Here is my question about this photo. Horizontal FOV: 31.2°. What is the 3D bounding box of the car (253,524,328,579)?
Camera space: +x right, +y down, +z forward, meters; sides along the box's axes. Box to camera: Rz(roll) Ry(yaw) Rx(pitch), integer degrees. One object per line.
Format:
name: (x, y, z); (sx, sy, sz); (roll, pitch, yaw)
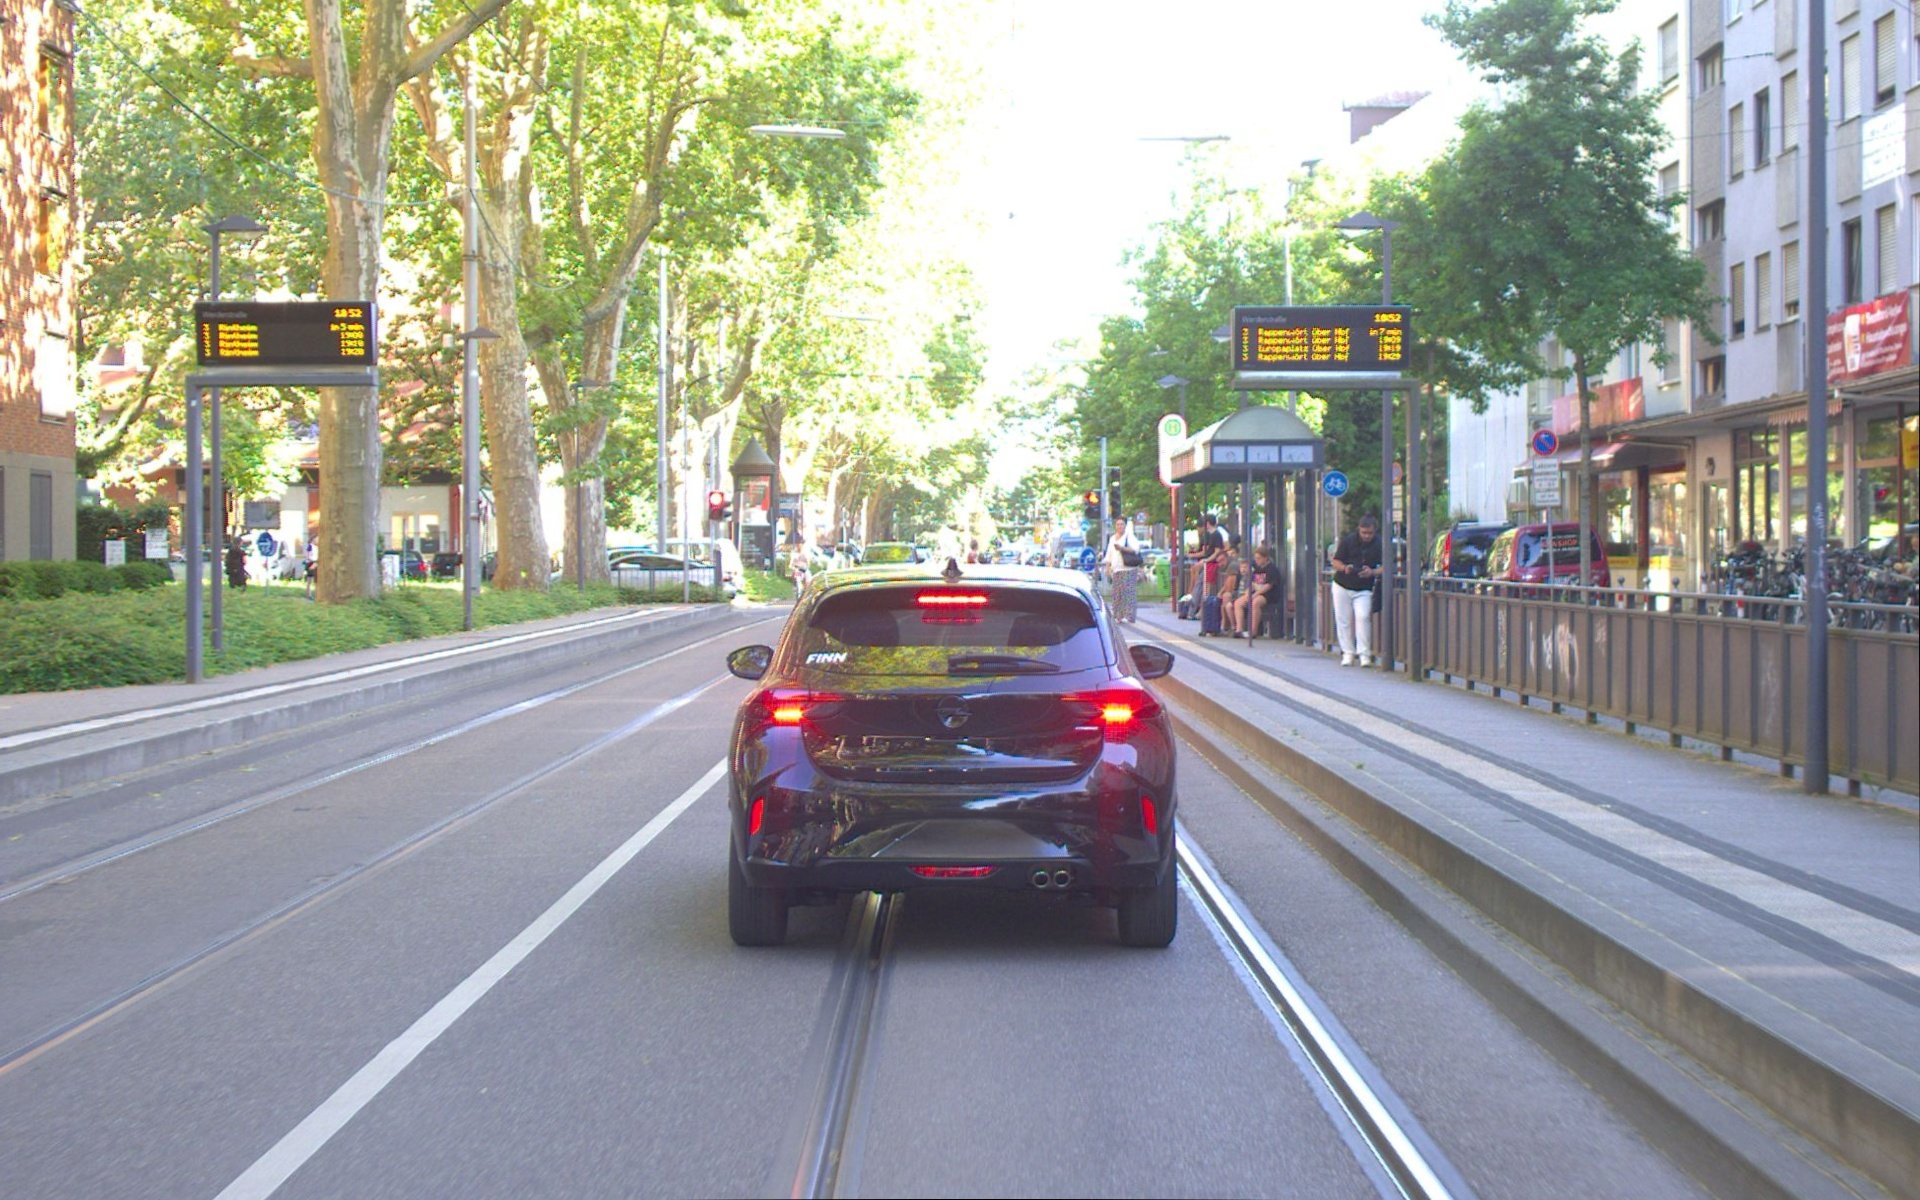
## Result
car: (-25.259, -1.819, 129.801); (1.993, 2.007, 4.000); (1, 0, 0)

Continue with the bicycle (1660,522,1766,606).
bicycle: (10.399, -0.497, 47.540); (0.597, 1.132, 2.205); (1, 0, -11)

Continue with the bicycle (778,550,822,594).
bicycle: (-4.647, -0.813, 100.206); (0.955, 1.236, 2.977); (1, 0, 3)

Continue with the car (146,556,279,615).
car: (-26.536, -0.520, 122.082); (4.250, 2.007, 2.000); (1, 0, 0)

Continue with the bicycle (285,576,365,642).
bicycle: (-12.136, 0.157, 65.791); (0.955, 1.236, 2.978); (1, 0, 0)

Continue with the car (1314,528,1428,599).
car: (8.911, -0.789, 74.879); (1.993, 1.481, 4.000); (1, 0, 0)

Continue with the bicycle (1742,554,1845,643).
bicycle: (10.915, -0.027, 45.097); (0.410, 1.132, 2.205); (1, 0, -11)

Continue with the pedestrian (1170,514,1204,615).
pedestrian: (3.880, -0.609, 58.791); (0.531, 1.703, 0.752); (1, 0, 3)

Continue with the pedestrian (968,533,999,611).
pedestrian: (0.623, -0.727, 89.674); (0.675, 2.007, 0.701); (2, 1, 6)

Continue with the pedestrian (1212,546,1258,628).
pedestrian: (3.743, -0.181, 46.818); (0.534, 1.096, 0.551); (1, 0, -4)

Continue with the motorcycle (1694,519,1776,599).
motorcycle: (12.801, -0.674, 56.831); (0.892, 1.276, 2.043); (1, 0, 0)

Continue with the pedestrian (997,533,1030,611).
pedestrian: (1.399, -0.725, 89.513); (0.676, 2.007, 0.701); (2, 1, 12)

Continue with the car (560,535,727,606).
car: (-7.954, -0.738, 86.270); (4.113, 1.695, 1.884); (1, 0, -7)

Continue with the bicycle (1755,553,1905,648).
bicycle: (10.831, -0.007, 42.933); (0.611, 1.132, 2.922); (1, 0, -11)

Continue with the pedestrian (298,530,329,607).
pedestrian: (-16.502, -0.805, 87.727); (0.672, 1.943, 0.498); (2, 1, -3)

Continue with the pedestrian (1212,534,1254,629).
pedestrian: (3.768, -0.260, 47.398); (0.502, 1.300, 0.429); (1, 0, -4)

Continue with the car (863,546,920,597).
car: (-2.172, -0.904, 108.402); (1.745, 1.539, 4.000); (1, 0, -2)

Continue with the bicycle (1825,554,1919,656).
bicycle: (10.771, 0.047, 39.489); (0.621, 1.132, 2.440); (1, 0, -11)

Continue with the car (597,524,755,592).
car: (-8.078, -1.197, 97.508); (4.383, 1.845, 2.000); (1, 0, -7)

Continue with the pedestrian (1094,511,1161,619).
pedestrian: (2.664, -0.556, 54.776); (0.751, 1.703, 0.762); (1, 0, 35)

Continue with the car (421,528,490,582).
car: (-19.088, -1.705, 130.320); (1.993, 2.007, 4.000); (1, 0, 0)

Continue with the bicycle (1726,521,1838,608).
bicycle: (11.107, -0.479, 46.524); (0.597, 1.132, 2.205); (1, 0, -11)

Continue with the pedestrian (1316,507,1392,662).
pedestrian: (4.092, -0.169, 35.718); (0.631, 1.571, 0.871); (2, 1, 0)

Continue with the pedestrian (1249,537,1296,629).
pedestrian: (4.205, -0.232, 46.269); (0.534, 1.226, 0.510); (1, 0, -4)

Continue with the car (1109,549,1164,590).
car: (7.155, -1.230, 139.524); (1.993, 1.627, 4.000); (1, 0, 0)

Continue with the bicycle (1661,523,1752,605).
bicycle: (10.611, -0.505, 48.935); (0.597, 1.132, 2.204); (1, 0, -6)

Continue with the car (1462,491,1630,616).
car: (9.527, -0.754, 56.202); (1.993, 1.946, 4.000); (1, 0, -1)

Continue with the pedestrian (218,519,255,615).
pedestrian: (-14.814, -0.673, 70.388); (0.496, 1.943, 0.674); (1, 0, 12)

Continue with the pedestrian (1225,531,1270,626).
pedestrian: (4.009, -0.300, 47.981); (0.534, 1.300, 0.551); (1, 0, -4)

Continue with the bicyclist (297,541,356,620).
bicyclist: (-12.129, -0.375, 65.868); (0.955, 1.486, 0.838); (1, 0, 0)

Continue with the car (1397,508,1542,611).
car: (9.272, -0.733, 62.821); (1.993, 1.791, 4.000); (1, 0, -1)

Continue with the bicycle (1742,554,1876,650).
bicycle: (10.326, 0.009, 41.914); (0.602, 1.132, 2.435); (1, 0, -11)

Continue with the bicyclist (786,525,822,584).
bicyclist: (-4.589, -1.332, 101.107); (0.941, 1.697, 1.153); (1, 0, 3)

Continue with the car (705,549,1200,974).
car: (-0.091, 0.561, 14.148); (1.759, 1.503, 3.683); (0, 0, -2)

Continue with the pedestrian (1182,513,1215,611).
pedestrian: (4.178, -0.665, 60.215); (0.531, 1.703, 0.596); (1, 0, 3)

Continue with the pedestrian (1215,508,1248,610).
pedestrian: (4.695, -0.707, 59.449); (0.531, 1.757, 0.661); (1, 0, 3)
